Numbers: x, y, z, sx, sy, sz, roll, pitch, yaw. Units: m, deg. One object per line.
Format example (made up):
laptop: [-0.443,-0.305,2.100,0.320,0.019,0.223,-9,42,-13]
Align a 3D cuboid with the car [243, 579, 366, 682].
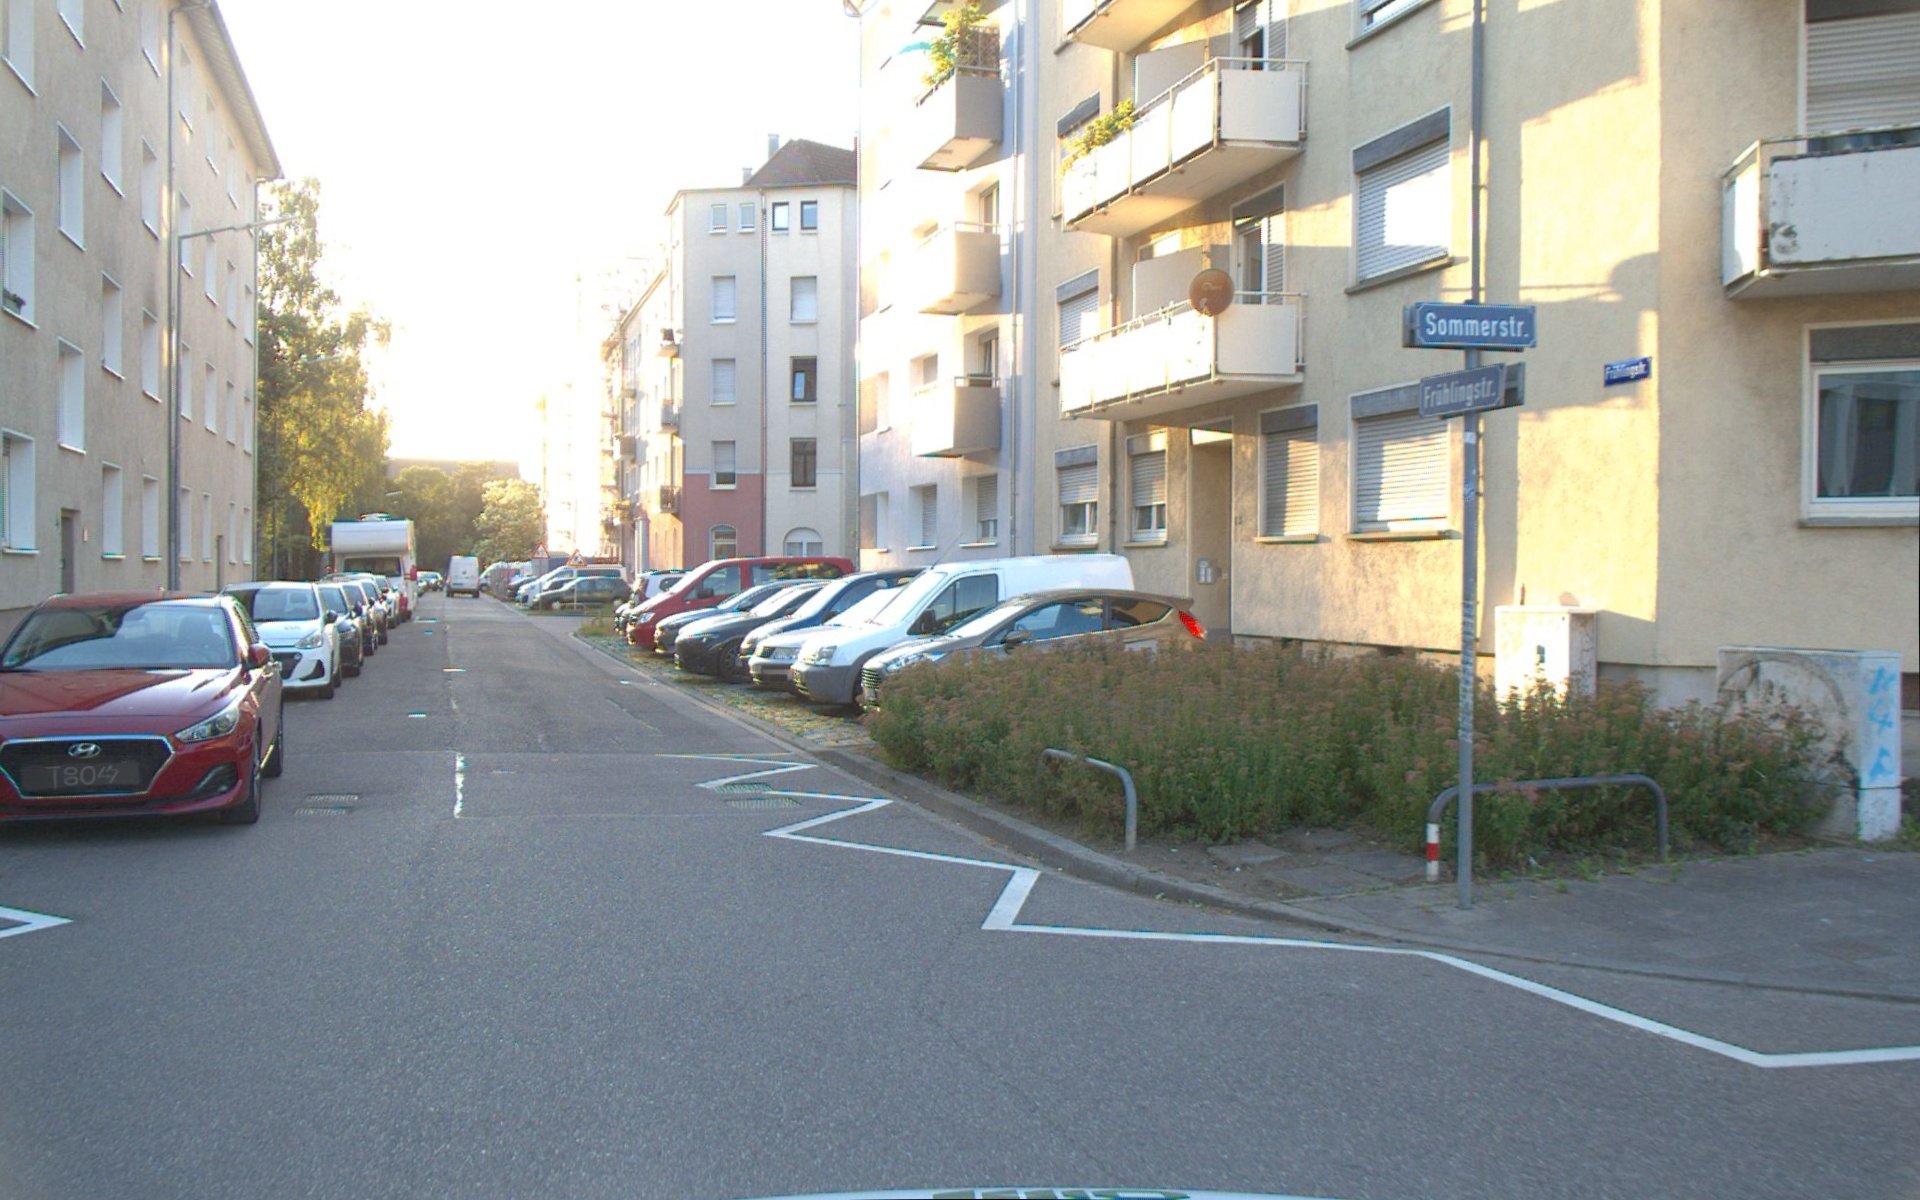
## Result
car: [-10.569,0.431,26.885,1.634,1.459,4.009,-2,2,-19]

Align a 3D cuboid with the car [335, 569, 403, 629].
car: [-16.790,-0.070,47.079,1.627,1.568,3.857,-2,2,-18]

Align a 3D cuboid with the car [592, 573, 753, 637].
car: [-7.196,0.102,41.379,3.754,1.453,1.626,-2,1,-19]

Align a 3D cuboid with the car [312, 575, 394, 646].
car: [-13.805,0.192,37.764,1.628,1.459,3.854,-2,2,-19]

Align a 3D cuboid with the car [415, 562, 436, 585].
car: [-46.277,-2.298,143.112,1.628,1.862,3.854,-2,2,-19]

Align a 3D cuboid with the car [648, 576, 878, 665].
car: [-3.758,0.361,31.506,4.082,1.496,1.627,-2,1,-19]

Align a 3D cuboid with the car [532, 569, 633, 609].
car: [-15.600,-0.477,68.378,3.926,1.557,1.650,-2,2,-19]

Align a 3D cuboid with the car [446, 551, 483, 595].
car: [-32.643,-1.763,108.869,2.097,2.764,4.806,-2,2,-19]

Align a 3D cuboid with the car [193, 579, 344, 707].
car: [-9.124,0.502,22.024,1.592,1.499,3.485,-2,2,-19]

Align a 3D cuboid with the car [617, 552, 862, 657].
car: [-4.527,0.057,33.914,4.651,1.942,2.048,-2,1,-19]

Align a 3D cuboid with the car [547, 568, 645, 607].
car: [-15.596,-0.546,70.813,3.926,1.557,1.650,-2,2,-19]

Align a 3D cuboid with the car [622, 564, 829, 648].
car: [-5.204,0.095,36.613,4.259,1.666,1.808,-2,1,-19]

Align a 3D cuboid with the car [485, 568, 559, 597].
car: [-24.645,-1.002,93.108,3.926,1.557,1.650,-2,2,-19]

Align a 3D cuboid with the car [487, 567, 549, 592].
car: [-29.635,-1.398,110.882,3.926,1.557,1.650,-2,2,-19]

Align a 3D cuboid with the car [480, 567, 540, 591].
car: [-31.211,-1.476,114.716,3.926,1.557,1.650,-2,2,-19]

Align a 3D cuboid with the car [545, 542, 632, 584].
car: [-18.242,-1.810,81.272,3.931,2.049,1.987,0,1,-22]

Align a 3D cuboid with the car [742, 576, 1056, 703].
car: [-0.832,0.472,22.107,3.894,1.548,1.697,-1,1,-18]

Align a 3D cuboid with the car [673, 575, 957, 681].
car: [-2.322,0.407,26.382,4.242,1.475,1.647,-2,1,-18]

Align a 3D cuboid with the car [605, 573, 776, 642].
car: [-6.356,0.152,39.022,3.754,1.453,1.626,-2,1,-19]

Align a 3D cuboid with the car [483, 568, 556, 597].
car: [-25.276,-1.009,94.961,3.926,1.557,1.650,-2,2,-19]

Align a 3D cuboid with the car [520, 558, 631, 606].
car: [-17.435,-0.838,75.041,4.740,2.002,1.730,-2,2,-19]

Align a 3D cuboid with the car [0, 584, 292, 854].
car: [-5.733,0.662,11.480,1.817,1.499,4.056,0,1,-19]

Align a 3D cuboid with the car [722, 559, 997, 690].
car: [-1.488,0.314,24.347,3.732,1.725,1.647,-2,1,-18]

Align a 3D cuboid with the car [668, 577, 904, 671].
car: [-3.047,0.382,28.949,3.818,1.440,1.627,-2,1,-20]

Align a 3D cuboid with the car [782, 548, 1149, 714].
car: [0.049,0.338,20.290,4.213,1.893,1.733,0,0,-18]

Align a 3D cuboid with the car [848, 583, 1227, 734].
car: [0.824,0.579,18.154,3.812,1.518,1.733,0,1,-18]

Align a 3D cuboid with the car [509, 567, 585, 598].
car: [-22.779,-0.976,91.126,3.926,1.557,1.650,-2,2,-19]

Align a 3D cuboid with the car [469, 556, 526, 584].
car: [-41.062,-2.671,146.769,4.740,2.450,1.730,-2,1,-19]

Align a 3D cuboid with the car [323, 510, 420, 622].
car: [-19.047,-1.113,53.885,2.579,3.325,7.660,-2,2,-17]

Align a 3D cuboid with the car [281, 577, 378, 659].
car: [-12.451,0.302,32.810,1.628,1.459,3.775,-2,2,-19]
